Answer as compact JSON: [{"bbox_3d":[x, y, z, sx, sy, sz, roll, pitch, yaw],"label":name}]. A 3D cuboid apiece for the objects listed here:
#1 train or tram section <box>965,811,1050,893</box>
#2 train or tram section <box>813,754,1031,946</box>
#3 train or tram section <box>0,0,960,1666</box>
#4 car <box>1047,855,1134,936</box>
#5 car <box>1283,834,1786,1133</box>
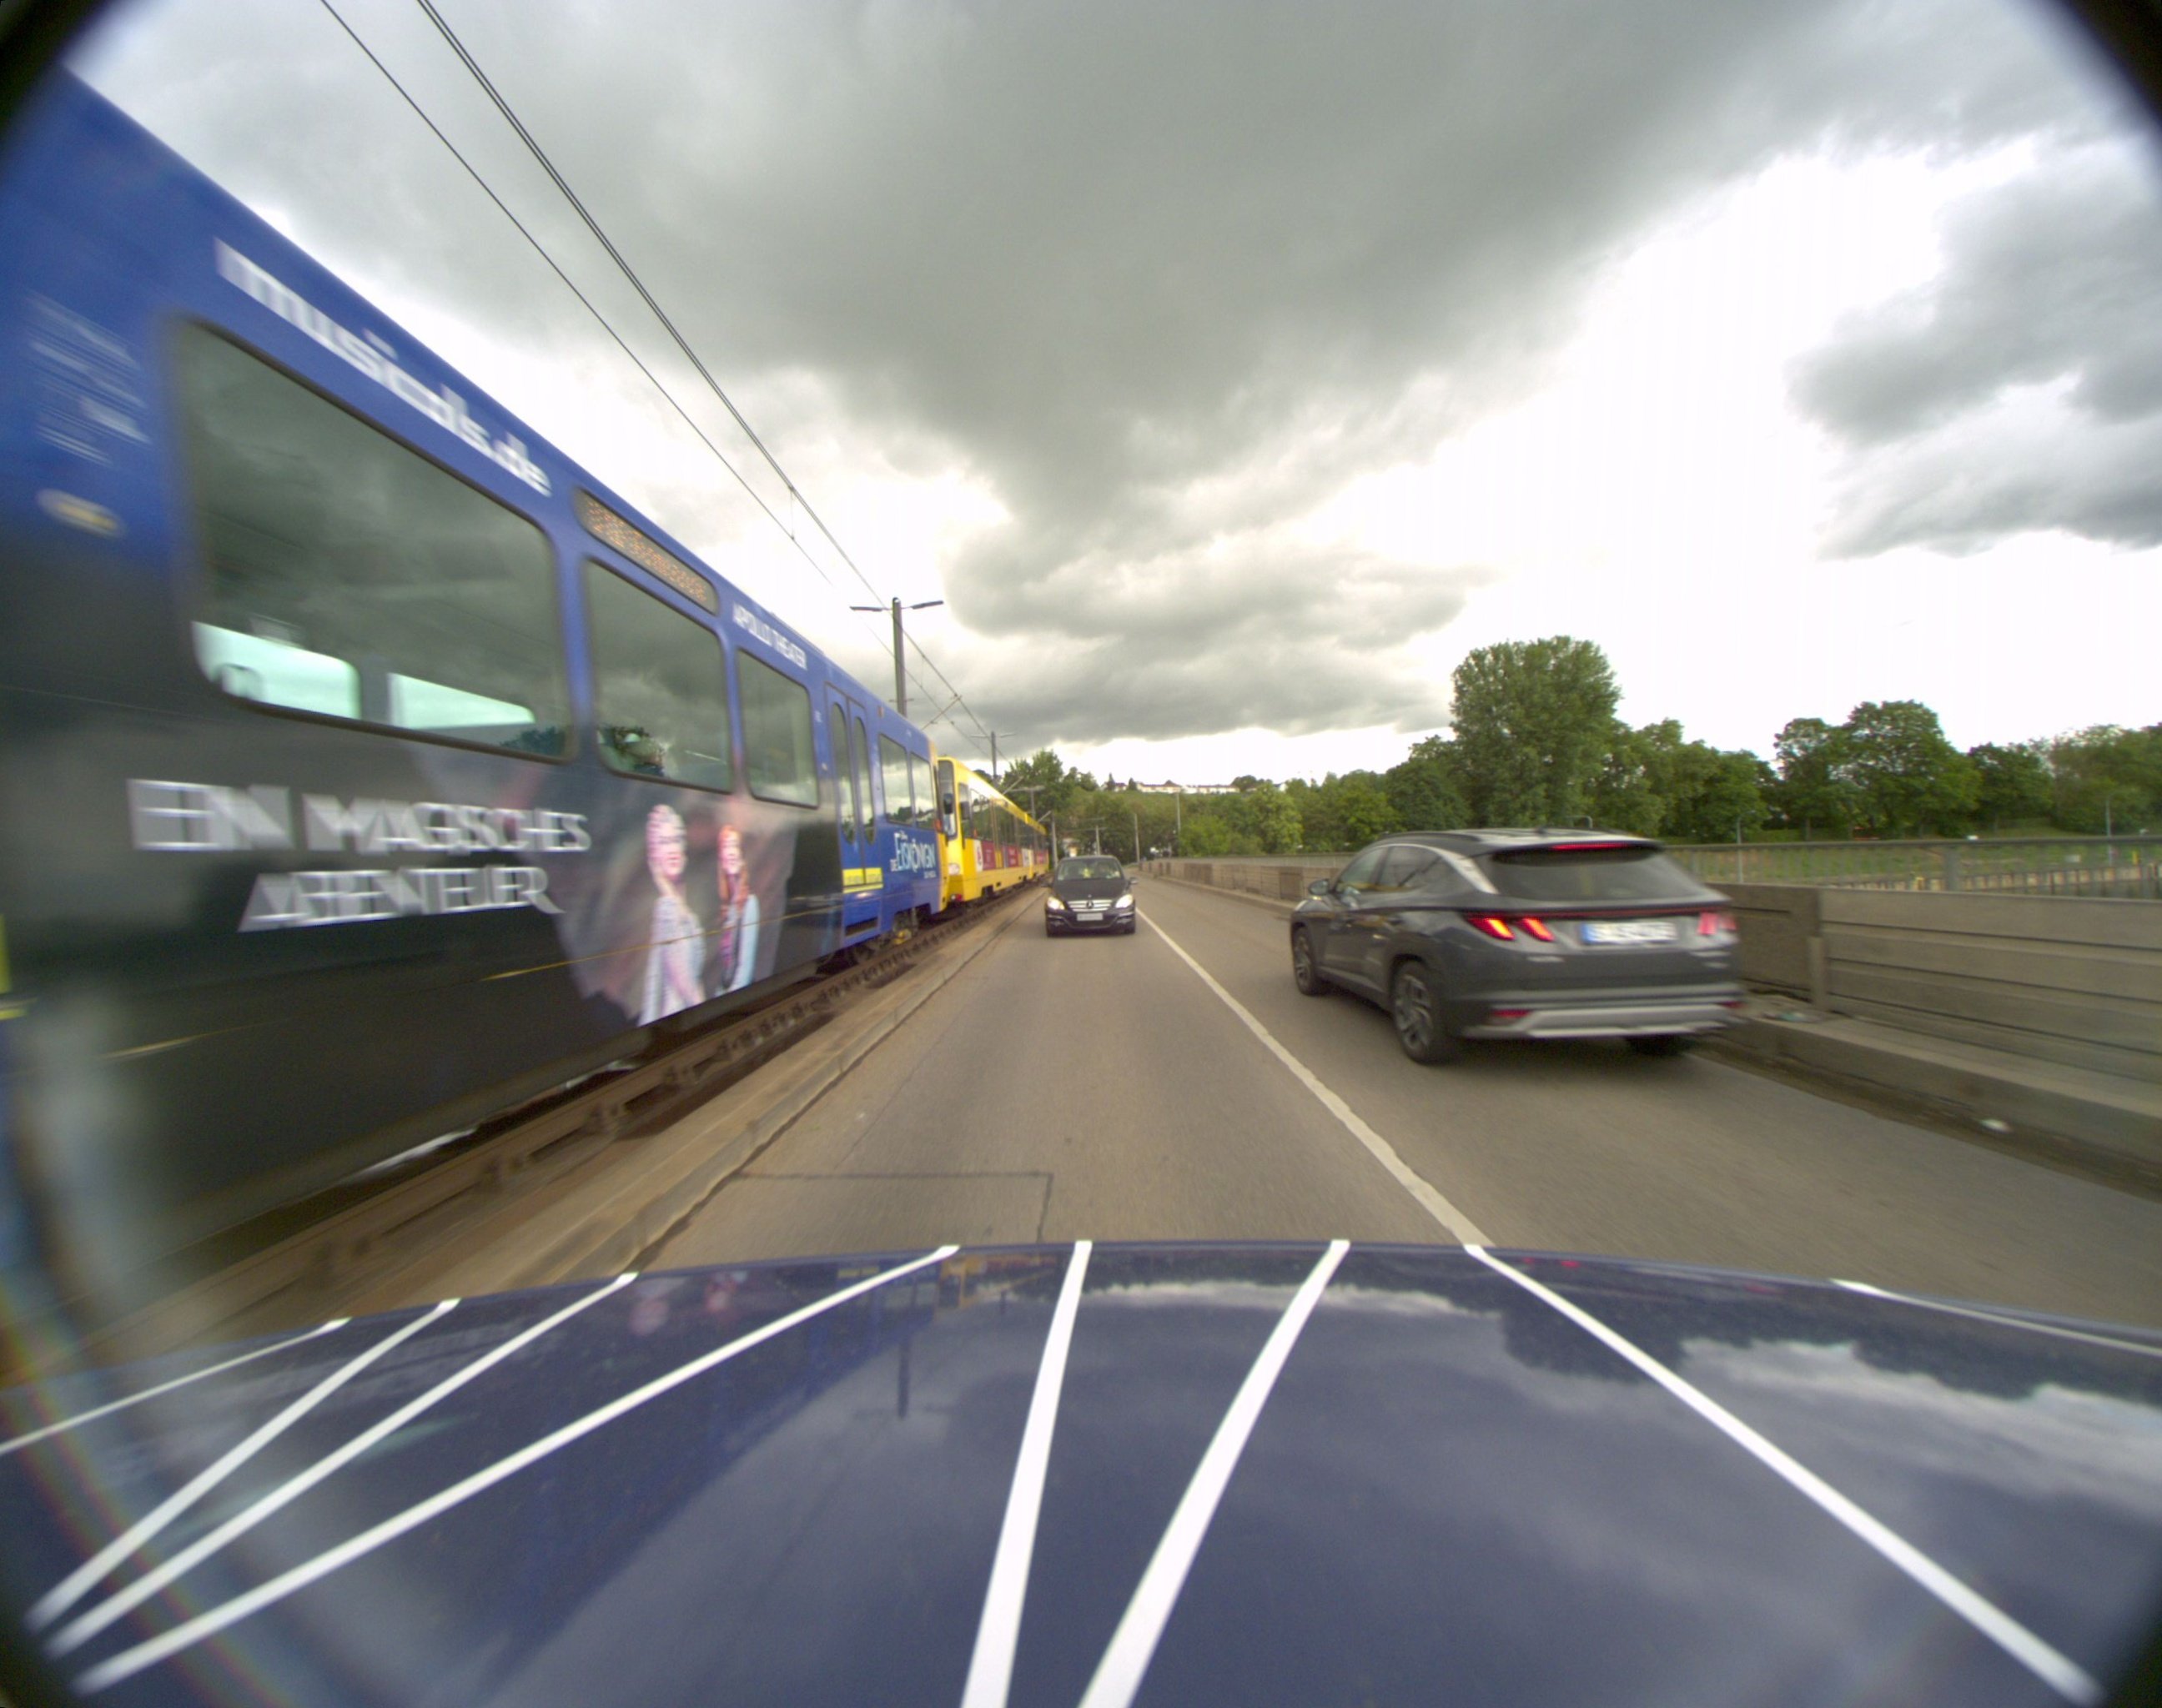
[{"bbox_3d":[-3.572,-0.093,42.377,2.890,3.489,18.665,-1,0,0],"label":"train or tram section"},{"bbox_3d":[-3.602,-0.083,23.659,2.837,3.559,18.665,-1,0,0],"label":"train or tram section"},{"bbox_3d":[-3.721,-0.100,4.424,2.791,3.635,19.889,-1,1,0],"label":"train or tram section"},{"bbox_3d":[0.189,0.844,17.578,1.711,1.573,4.442,-2,0,0],"label":"car"},{"bbox_3d":[3.066,0.732,6.242,1.720,1.636,4.000,-1,0,0],"label":"car"}]
